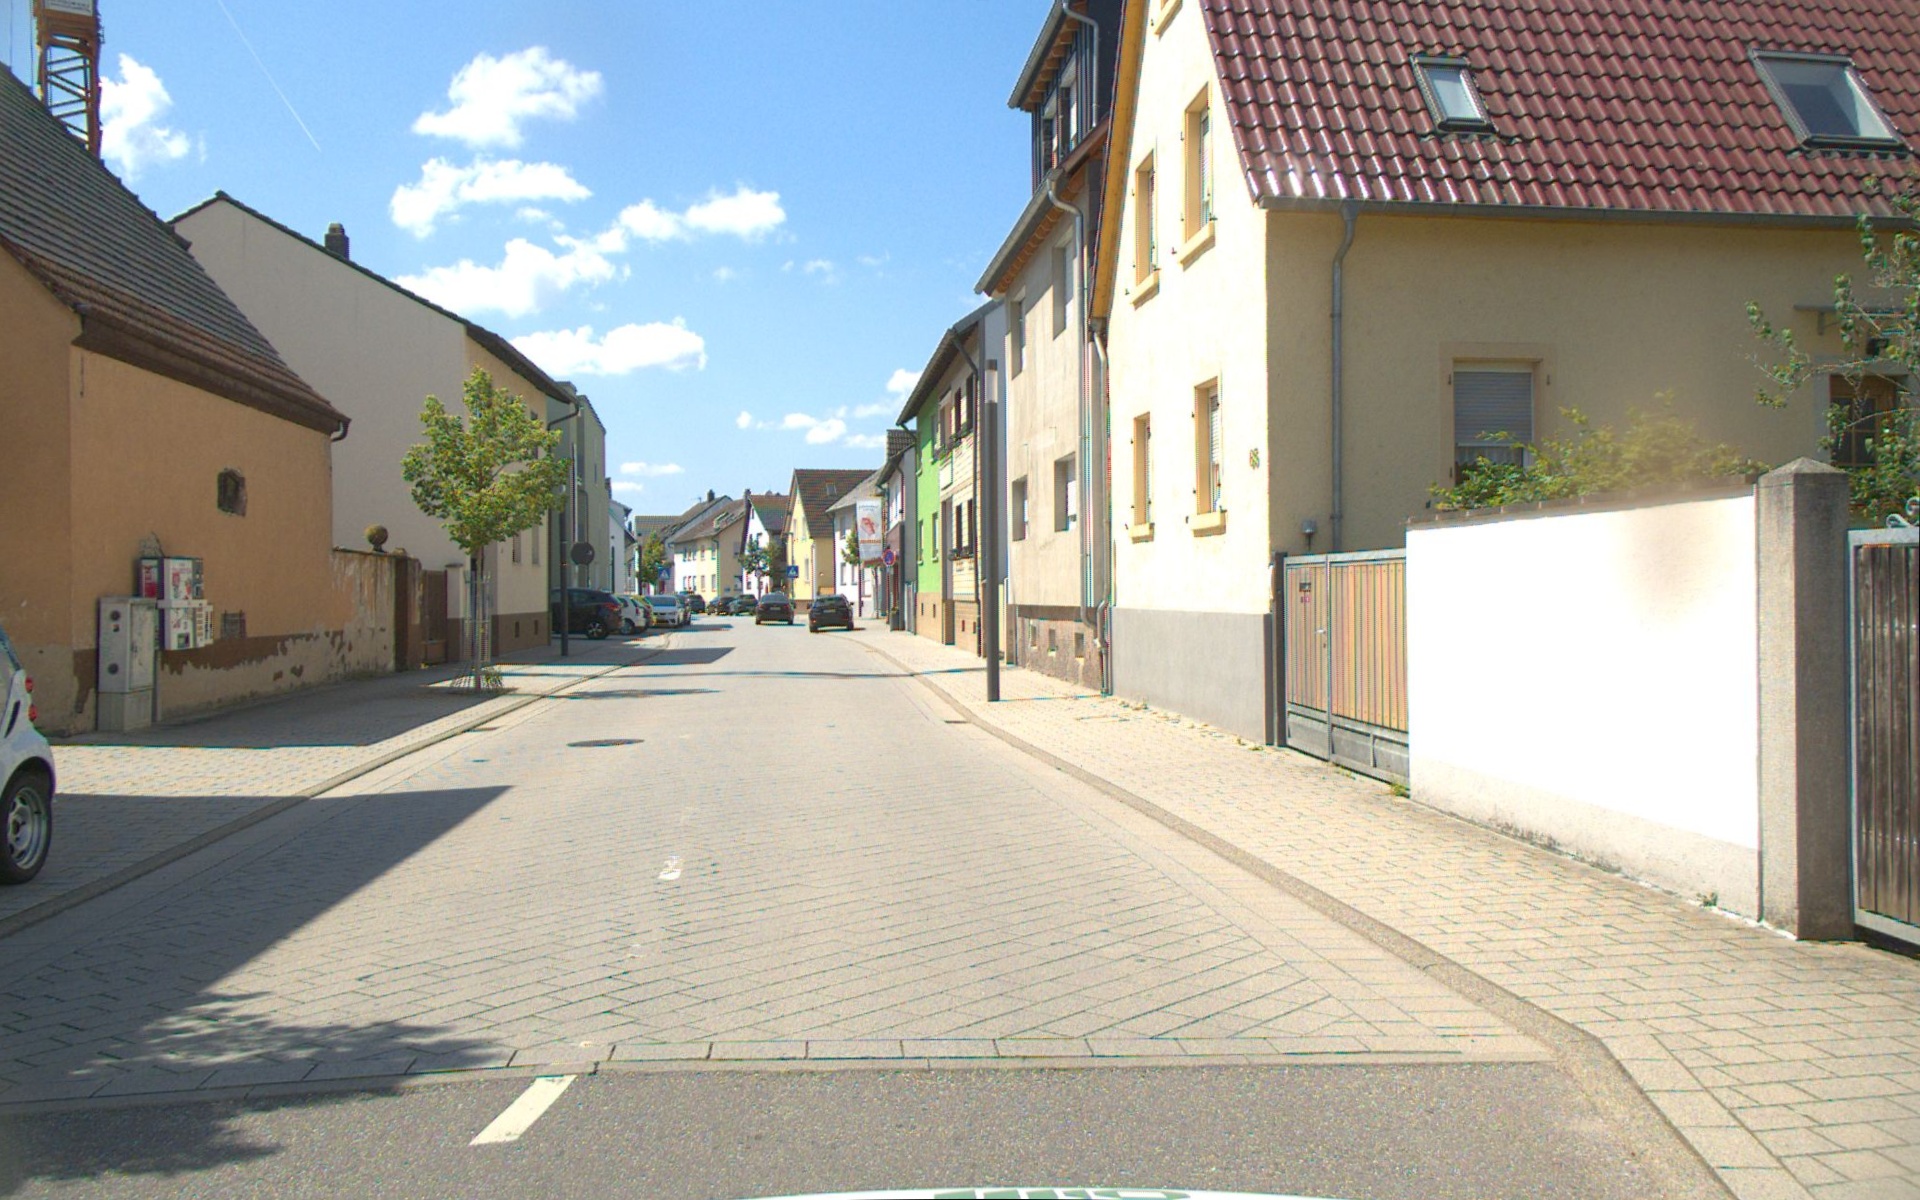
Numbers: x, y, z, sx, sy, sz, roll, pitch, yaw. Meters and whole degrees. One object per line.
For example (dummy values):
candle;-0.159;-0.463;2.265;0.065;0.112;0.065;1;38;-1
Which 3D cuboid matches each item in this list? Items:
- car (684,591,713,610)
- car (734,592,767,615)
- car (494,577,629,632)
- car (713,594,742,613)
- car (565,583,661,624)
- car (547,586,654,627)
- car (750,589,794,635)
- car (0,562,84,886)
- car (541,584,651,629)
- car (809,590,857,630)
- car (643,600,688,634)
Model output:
car;-22.809;0.052;144.179;1.848;1.619;3.980;-1;1;-18
car;-15.687;0.256;123.793;1.818;1.590;3.675;-1;1;-18
car;-13.247;0.144;55.133;4.138;1.687;1.782;2;0;-7
car;-18.401;0.280;131.075;1.684;1.411;3.687;-1;1;-17
car;-14.272;0.154;68.146;3.620;1.552;1.671;2;0;-5
car;-14.144;0.249;65.219;3.910;1.467;1.689;2;0;-6
car;-9.165;0.549;80.466;1.956;2.093;4.366;-1;1;-8
car;-5.414;0.589;7.448;1.541;1.588;2.819;2;0;-4
car;-13.819;0.241;62.937;3.824;1.528;1.749;2;0;-5
car;-5.201;0.385;68.125;1.821;1.484;4.583;-3;1;-3
car;-13.600;0.753;76.461;1.724;1.435;3.873;1;1;-6
